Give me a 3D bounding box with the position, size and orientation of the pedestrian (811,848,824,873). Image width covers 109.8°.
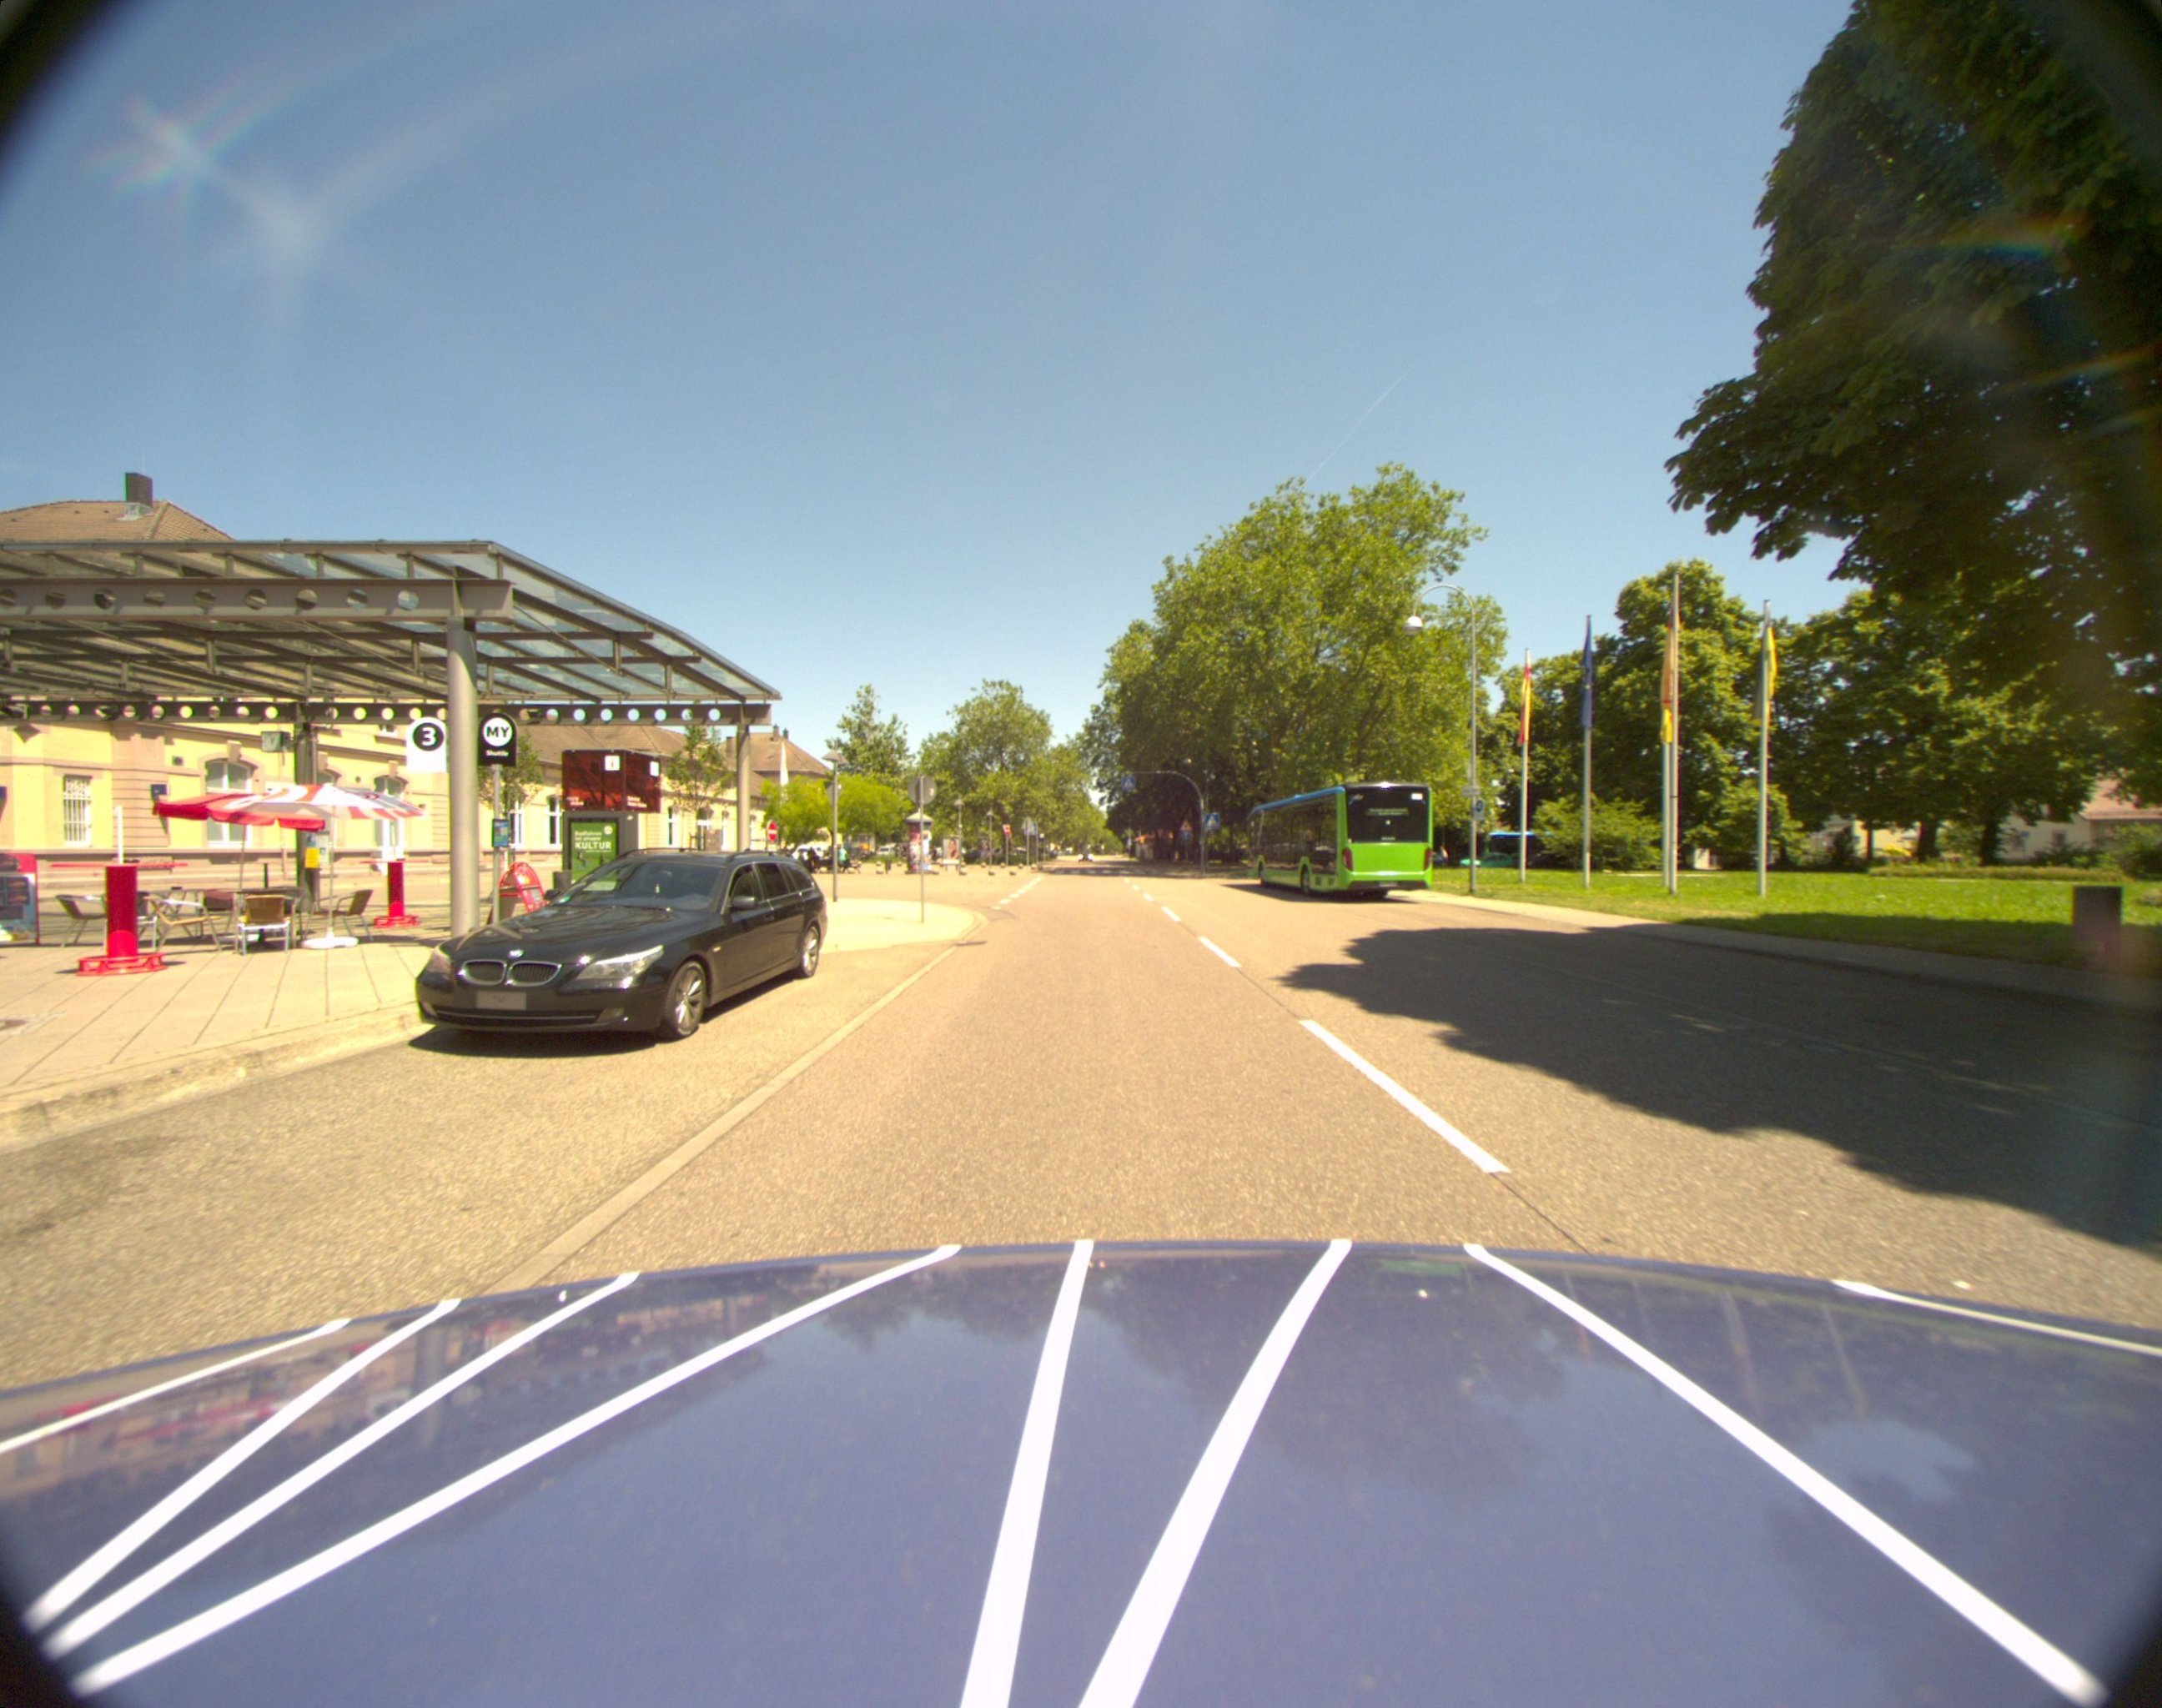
[{"bbox_3d":[-14.788,0.362,42.693,0.600,1.356,0.598,0,1,-28],"label":"pedestrian"}]

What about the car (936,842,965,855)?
[{"bbox_3d":[-17.665,-0.696,102.607,1.804,1.596,4.050,-3,4,-45],"label":"car"}]

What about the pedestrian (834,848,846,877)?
[{"bbox_3d":[-14.428,0.482,45.500,0.628,1.730,0.547,-1,2,-25],"label":"pedestrian"}]

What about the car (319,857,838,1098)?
[{"bbox_3d":[-4.120,0.839,7.445,1.932,1.452,4.724,3,1,0],"label":"car"}]

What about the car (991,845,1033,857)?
[{"bbox_3d":[-8.429,-0.415,92.500,4.782,1.409,1.783,0,1,-19],"label":"car"}]

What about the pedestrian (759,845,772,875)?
[{"bbox_3d":[-17.748,0.351,42.812,0.555,1.675,0.586,0,1,-12],"label":"pedestrian"}]

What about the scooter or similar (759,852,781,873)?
[{"bbox_3d":[-17.136,0.450,41.864,1.028,1.133,0.294,0,2,-7],"label":"scooter or similar"}]

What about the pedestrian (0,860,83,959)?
[{"bbox_3d":[-14.322,0.720,10.122,0.847,1.270,0.895,0,1,5],"label":"pedestrian"}]

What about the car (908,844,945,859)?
[{"bbox_3d":[-17.528,-0.273,85.961,4.515,1.535,1.804,3,4,44],"label":"car"}]

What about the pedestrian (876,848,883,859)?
[{"bbox_3d":[-24.941,-0.093,94.014,0.802,1.416,0.690,0,1,-19],"label":"pedestrian"}]

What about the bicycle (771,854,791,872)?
[{"bbox_3d":[-17.867,0.532,45.253,0.421,1.054,1.948,0,1,-2],"label":"bicycle"}]

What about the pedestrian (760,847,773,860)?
[{"bbox_3d":[-30.502,-0.062,73.703,0.881,1.155,0.851,2,1,-4],"label":"pedestrian"}]

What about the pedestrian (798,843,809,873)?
[{"bbox_3d":[-16.034,0.248,43.941,0.513,1.730,0.569,-1,2,-29],"label":"pedestrian"}]

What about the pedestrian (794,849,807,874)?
[{"bbox_3d":[-15.624,0.404,42.335,0.600,1.356,0.598,0,1,-28],"label":"pedestrian"}]

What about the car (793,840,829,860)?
[{"bbox_3d":[-26.571,-0.388,74.823,1.814,1.855,5.138,-1,0,-2],"label":"car"}]

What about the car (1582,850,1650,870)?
[{"bbox_3d":[40.465,0.409,57.517,3.915,1.484,1.760,0,1,0],"label":"car"}]

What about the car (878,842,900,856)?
[{"bbox_3d":[-26.323,-0.737,104.220,2.004,1.830,5.315,-2,1,-5],"label":"car"}]

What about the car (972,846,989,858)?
[{"bbox_3d":[-16.269,-0.402,122.782,1.741,1.883,3.992,0,1,-23],"label":"car"}]

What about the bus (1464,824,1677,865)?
[{"bbox_3d":[40.844,-0.792,63.719,15.938,3.276,2.877,0,1,0],"label":"bus"}]

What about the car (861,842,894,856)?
[{"bbox_3d":[-33.747,-0.799,126.115,4.962,2.108,2.051,-2,1,-1],"label":"car"}]

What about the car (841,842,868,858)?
[{"bbox_3d":[-26.632,-0.475,89.464,2.080,1.829,4.838,-1,0,-5],"label":"car"}]

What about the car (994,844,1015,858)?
[{"bbox_3d":[-8.480,-0.353,84.540,1.599,1.584,3.108,0,1,10],"label":"car"}]

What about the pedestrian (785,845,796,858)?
[{"bbox_3d":[-31.616,-0.294,82.796,0.881,1.363,0.851,2,1,-4],"label":"pedestrian"}]

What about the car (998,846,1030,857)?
[{"bbox_3d":[-9.086,-0.409,103.076,3.882,1.452,1.632,0,1,-28],"label":"car"}]

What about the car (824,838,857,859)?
[{"bbox_3d":[-26.064,-0.578,82.442,2.093,2.112,5.823,-1,0,-5],"label":"car"}]

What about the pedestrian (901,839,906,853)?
[{"bbox_3d":[-26.361,-1.204,113.017,0.628,1.978,0.617,-2,1,-5],"label":"pedestrian"}]

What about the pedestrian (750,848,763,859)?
[{"bbox_3d":[-31.442,-0.040,73.653,0.881,1.073,0.851,2,1,-4],"label":"pedestrian"}]

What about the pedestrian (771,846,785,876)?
[{"bbox_3d":[-17.378,0.393,43.537,0.619,1.675,0.590,0,1,-12],"label":"pedestrian"}]

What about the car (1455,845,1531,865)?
[{"bbox_3d":[31.075,0.075,57.433,4.766,1.431,1.756,0,1,0],"label":"car"}]

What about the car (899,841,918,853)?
[{"bbox_3d":[-28.204,-1.098,124.453,1.998,1.779,4.246,-2,2,2],"label":"car"}]

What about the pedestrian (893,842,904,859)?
[{"bbox_3d":[-18.074,-0.356,75.354,0.812,1.707,0.775,1,2,44],"label":"pedestrian"}]

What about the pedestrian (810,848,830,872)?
[{"bbox_3d":[-15.068,0.337,43.884,0.914,1.378,0.941,-1,1,-29],"label":"pedestrian"}]

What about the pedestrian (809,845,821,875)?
[{"bbox_3d":[-15.664,0.348,44.757,0.586,1.730,0.598,-1,1,-25],"label":"pedestrian"}]

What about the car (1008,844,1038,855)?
[{"bbox_3d":[-8.177,-0.615,106.673,3.882,1.452,1.632,0,1,-28],"label":"car"}]

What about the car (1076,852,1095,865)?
[{"bbox_3d":[0.548,0.536,92.959,1.662,1.368,3.448,-3,1,-9],"label":"car"}]

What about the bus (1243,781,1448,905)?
[{"bbox_3d":[8.268,-0.350,26.191,2.816,3.264,12.423,0,1,0],"label":"bus"}]

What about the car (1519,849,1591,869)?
[{"bbox_3d":[35.859,0.355,57.561,4.372,1.484,1.760,0,1,0],"label":"car"}]

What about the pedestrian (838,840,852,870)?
[{"bbox_3d":[-13.960,0.049,44.935,0.695,1.754,0.584,-1,2,-33],"label":"pedestrian"}]
